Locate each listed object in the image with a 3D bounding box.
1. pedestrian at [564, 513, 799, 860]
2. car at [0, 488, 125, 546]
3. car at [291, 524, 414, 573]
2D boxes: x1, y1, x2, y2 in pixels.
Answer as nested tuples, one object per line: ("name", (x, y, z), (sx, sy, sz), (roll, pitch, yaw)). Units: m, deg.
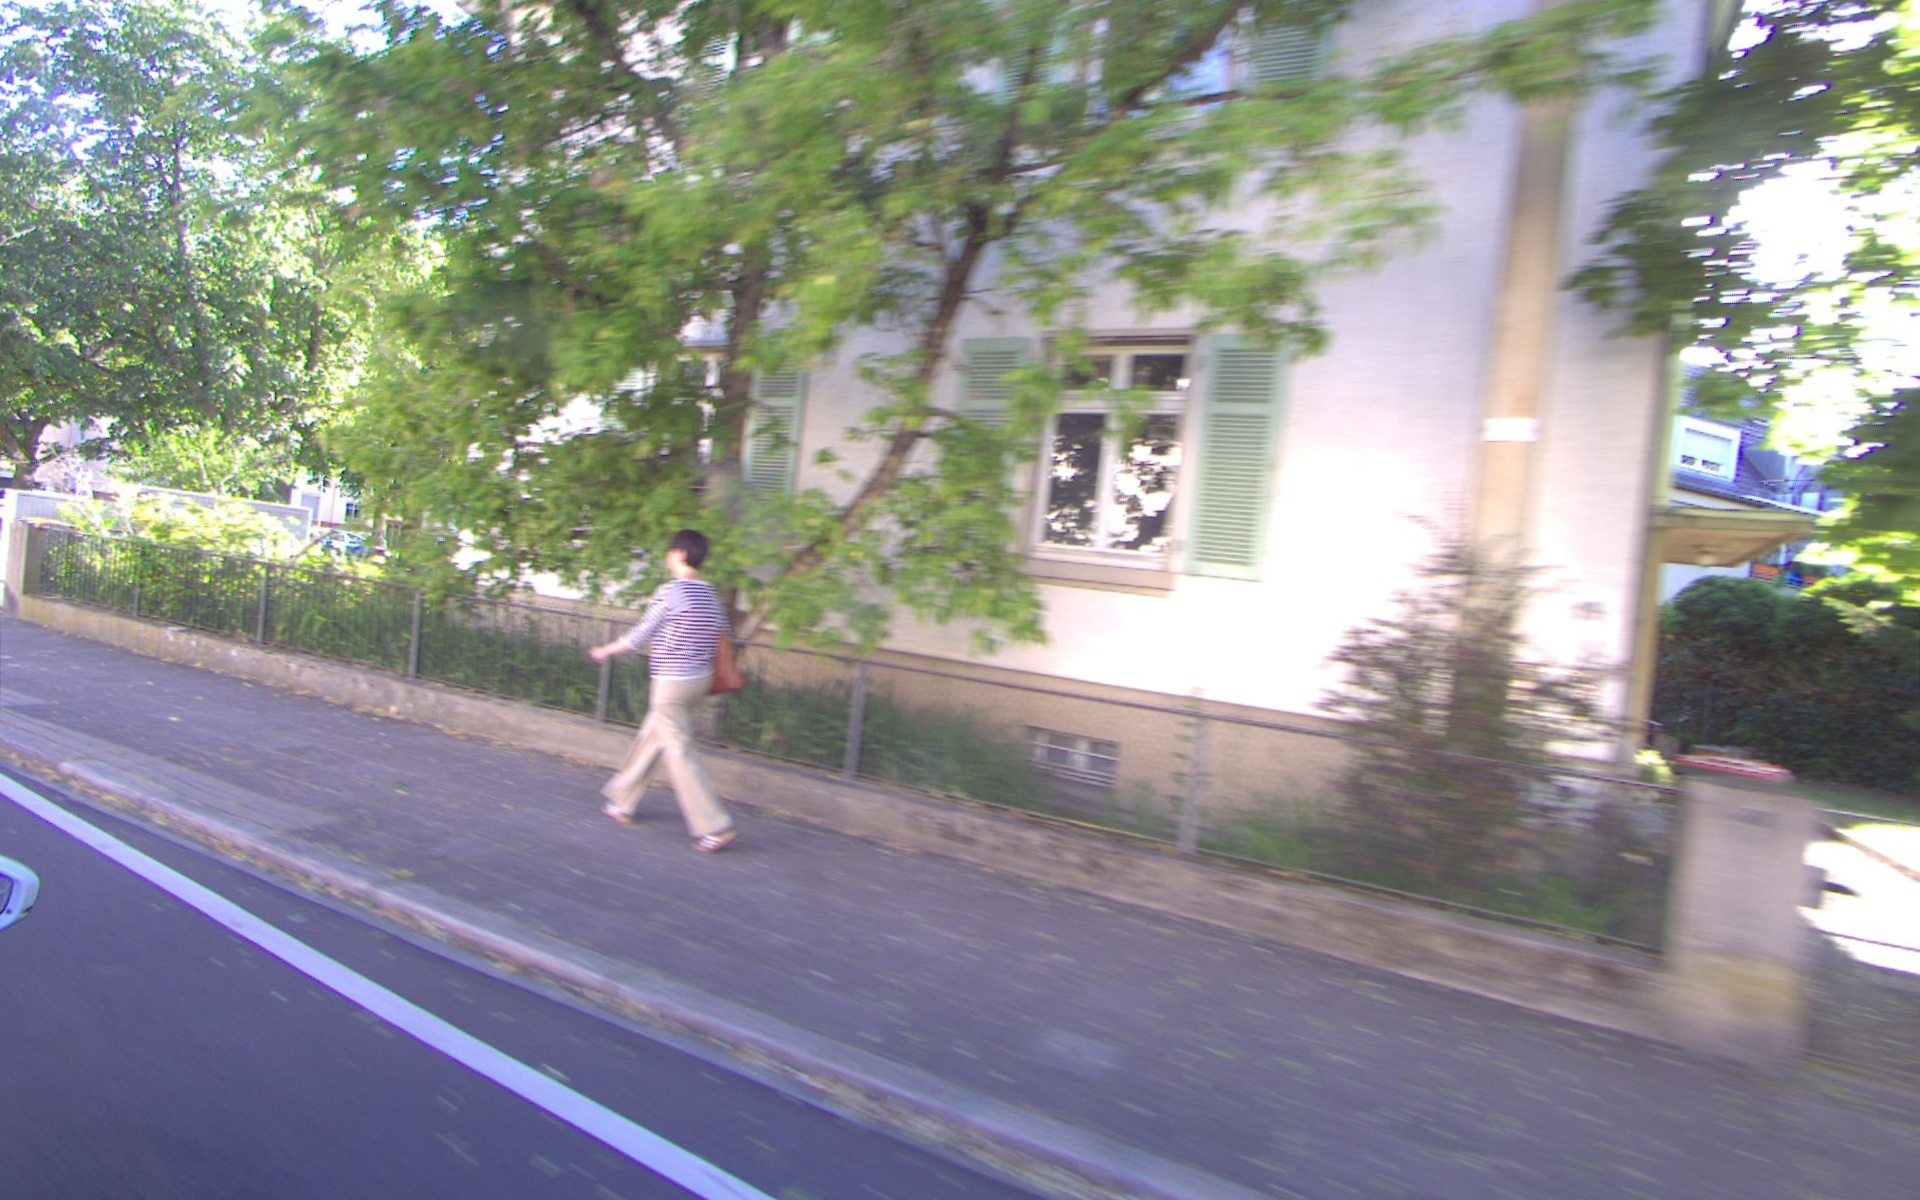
("pedestrian", (-1.534, 0.438, 5.588), (0.855, 1.710, 0.719), (7, 2, 25))
("car", (-30.235, -2.765, 33.205), (1.712, 1.459, 3.811), (7, 0, 11))
("car", (-24.524, -2.049, 40.750), (1.757, 1.466, 4.001), (7, 0, 18))
